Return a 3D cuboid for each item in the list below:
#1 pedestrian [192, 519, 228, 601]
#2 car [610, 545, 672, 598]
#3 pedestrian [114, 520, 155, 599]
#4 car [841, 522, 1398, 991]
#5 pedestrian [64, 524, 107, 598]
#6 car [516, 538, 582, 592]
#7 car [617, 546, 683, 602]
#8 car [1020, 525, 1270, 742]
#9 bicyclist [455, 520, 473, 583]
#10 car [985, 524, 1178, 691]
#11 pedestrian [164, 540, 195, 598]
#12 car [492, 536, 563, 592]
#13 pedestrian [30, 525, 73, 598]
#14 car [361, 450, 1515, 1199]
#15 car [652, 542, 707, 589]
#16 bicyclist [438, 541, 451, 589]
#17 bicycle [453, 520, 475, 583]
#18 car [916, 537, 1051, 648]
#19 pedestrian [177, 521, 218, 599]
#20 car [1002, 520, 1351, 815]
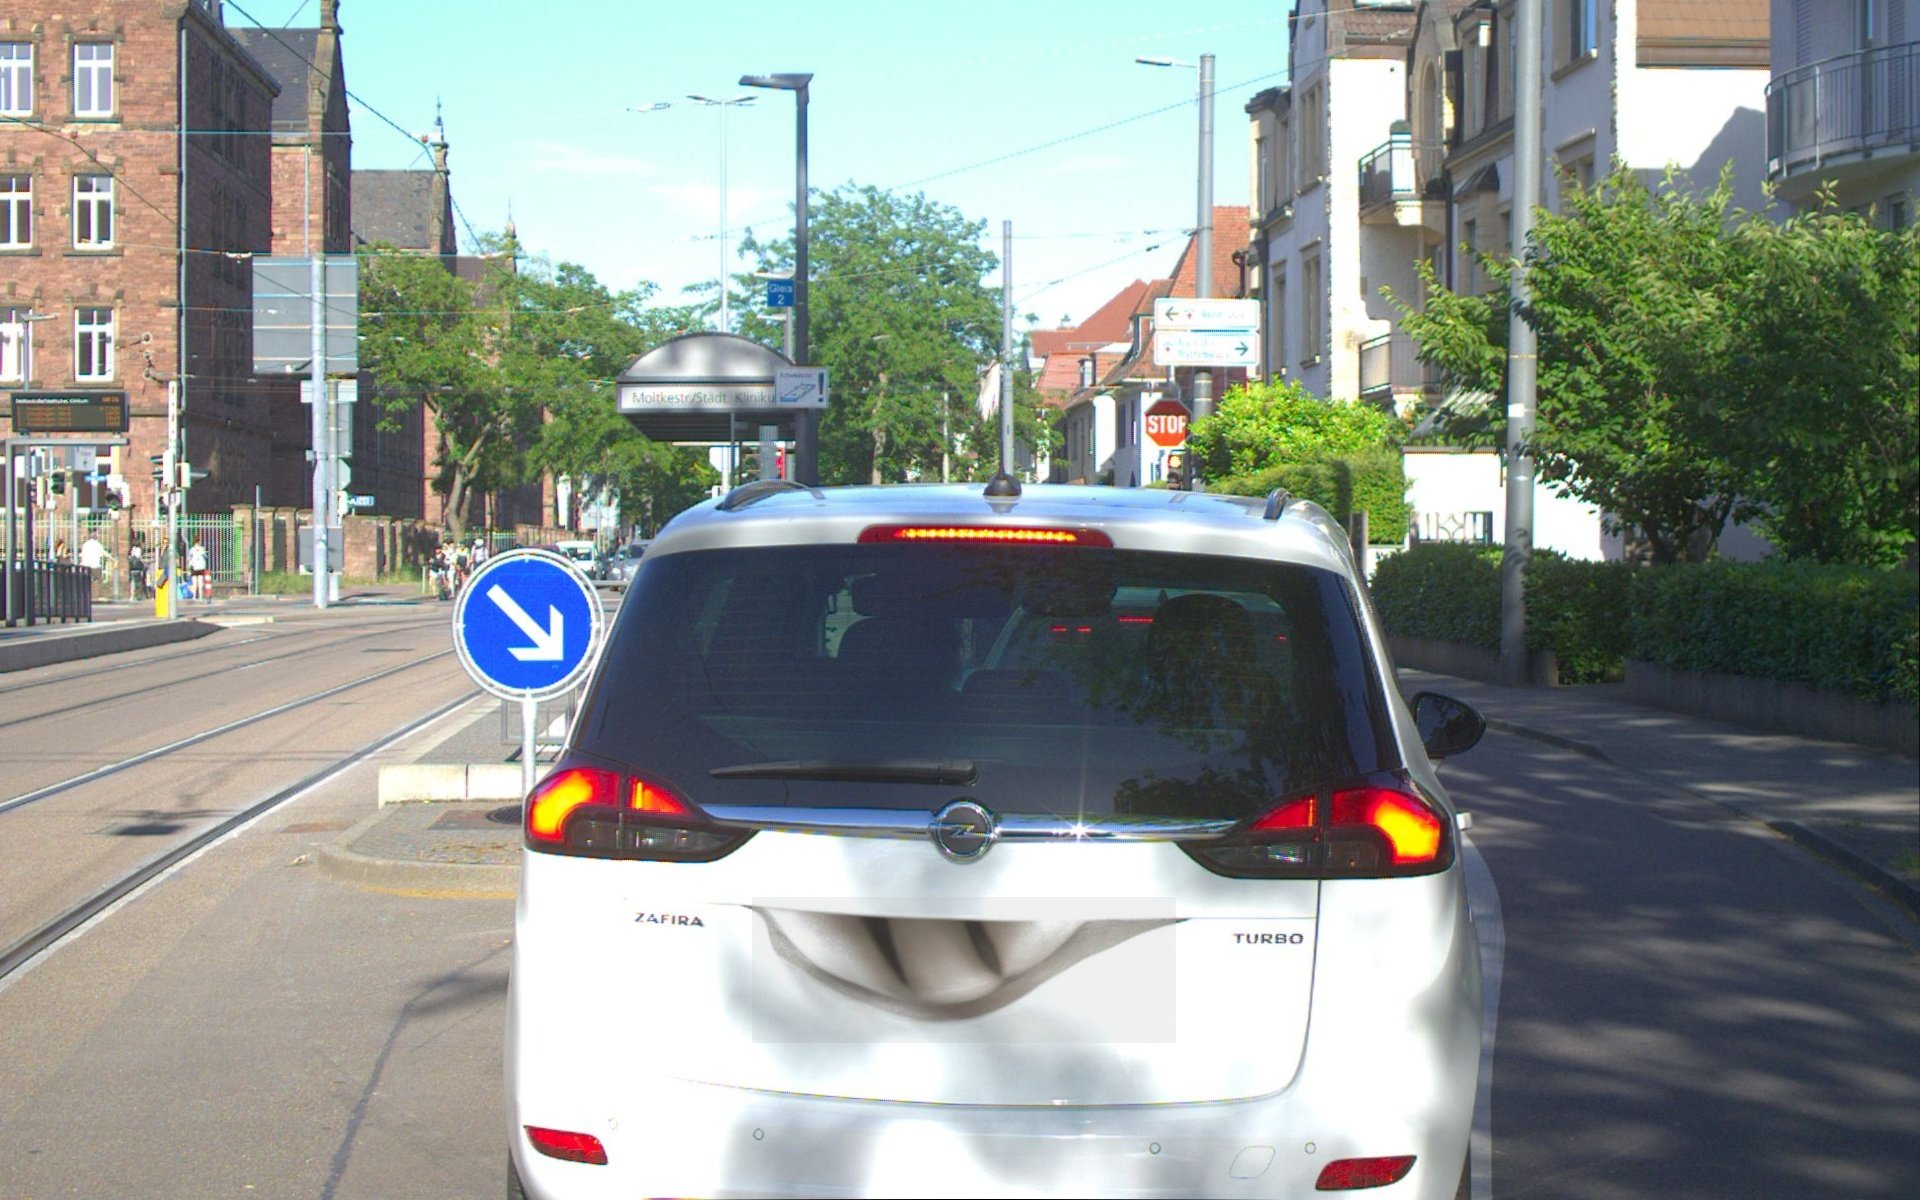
[{"bbox_3d":[-18.548,-0.996,84.971,0.794,2.007,0.721,1,0,-17],"label":"pedestrian"},{"bbox_3d":[-10.675,-0.948,115.215,1.746,1.710,4.000,1,1,-1],"label":"car"},{"bbox_3d":[-21.219,-1.039,88.342,0.795,2.007,0.720,1,0,-34],"label":"pedestrian"},{"bbox_3d":[0.770,0.494,13.773,1.907,1.592,3.999,0,1,7],"label":"car"},{"bbox_3d":[-22.643,-1.014,89.015,0.808,1.894,0.743,1,0,14],"label":"pedestrian"},{"bbox_3d":[-13.576,-1.153,113.709,1.746,1.710,4.000,1,1,-1],"label":"car"},{"bbox_3d":[-9.662,-0.818,107.359,1.746,1.710,4.000,1,1,-1],"label":"car"},{"bbox_3d":[1.553,0.218,28.273,1.907,1.656,4.000,0,1,4],"label":"car"},{"bbox_3d":[-15.723,-1.537,108.979,0.498,2.007,0.572,0,1,-1],"label":"bicyclist"},{"bbox_3d":[1.229,0.037,36.110,1.907,1.656,4.000,0,1,1],"label":"car"},{"bbox_3d":[-21.648,-0.857,95.336,0.654,1.606,0.711,1,0,2],"label":"pedestrian"},{"bbox_3d":[-13.449,-1.118,107.041,1.746,1.710,4.000,1,1,-1],"label":"car"},{"bbox_3d":[-23.711,-1.009,89.726,0.808,1.894,0.743,1,0,16],"label":"pedestrian"},{"bbox_3d":[0.176,0.547,7.638,1.907,1.656,3.999,0,1,7],"label":"car"},{"bbox_3d":[-10.514,-1.296,129.067,1.746,1.710,4.000,1,1,-1],"label":"car"},{"bbox_3d":[-15.448,-1.062,103.039,0.313,1.439,0.384,0,1,-1],"label":"bicyclist"},{"bbox_3d":[-15.719,-1.537,108.987,0.487,2.007,1.405,0,1,0],"label":"bicycle"},{"bbox_3d":[0.322,-0.149,53.087,1.907,1.656,4.001,0,1,-2],"label":"car"},{"bbox_3d":[-19.732,-1.025,88.965,0.795,2.007,0.720,0,0,-37],"label":"pedestrian"},{"bbox_3d":[1.418,0.331,20.996,1.907,1.619,3.999,0,1,7],"label":"car"}]
